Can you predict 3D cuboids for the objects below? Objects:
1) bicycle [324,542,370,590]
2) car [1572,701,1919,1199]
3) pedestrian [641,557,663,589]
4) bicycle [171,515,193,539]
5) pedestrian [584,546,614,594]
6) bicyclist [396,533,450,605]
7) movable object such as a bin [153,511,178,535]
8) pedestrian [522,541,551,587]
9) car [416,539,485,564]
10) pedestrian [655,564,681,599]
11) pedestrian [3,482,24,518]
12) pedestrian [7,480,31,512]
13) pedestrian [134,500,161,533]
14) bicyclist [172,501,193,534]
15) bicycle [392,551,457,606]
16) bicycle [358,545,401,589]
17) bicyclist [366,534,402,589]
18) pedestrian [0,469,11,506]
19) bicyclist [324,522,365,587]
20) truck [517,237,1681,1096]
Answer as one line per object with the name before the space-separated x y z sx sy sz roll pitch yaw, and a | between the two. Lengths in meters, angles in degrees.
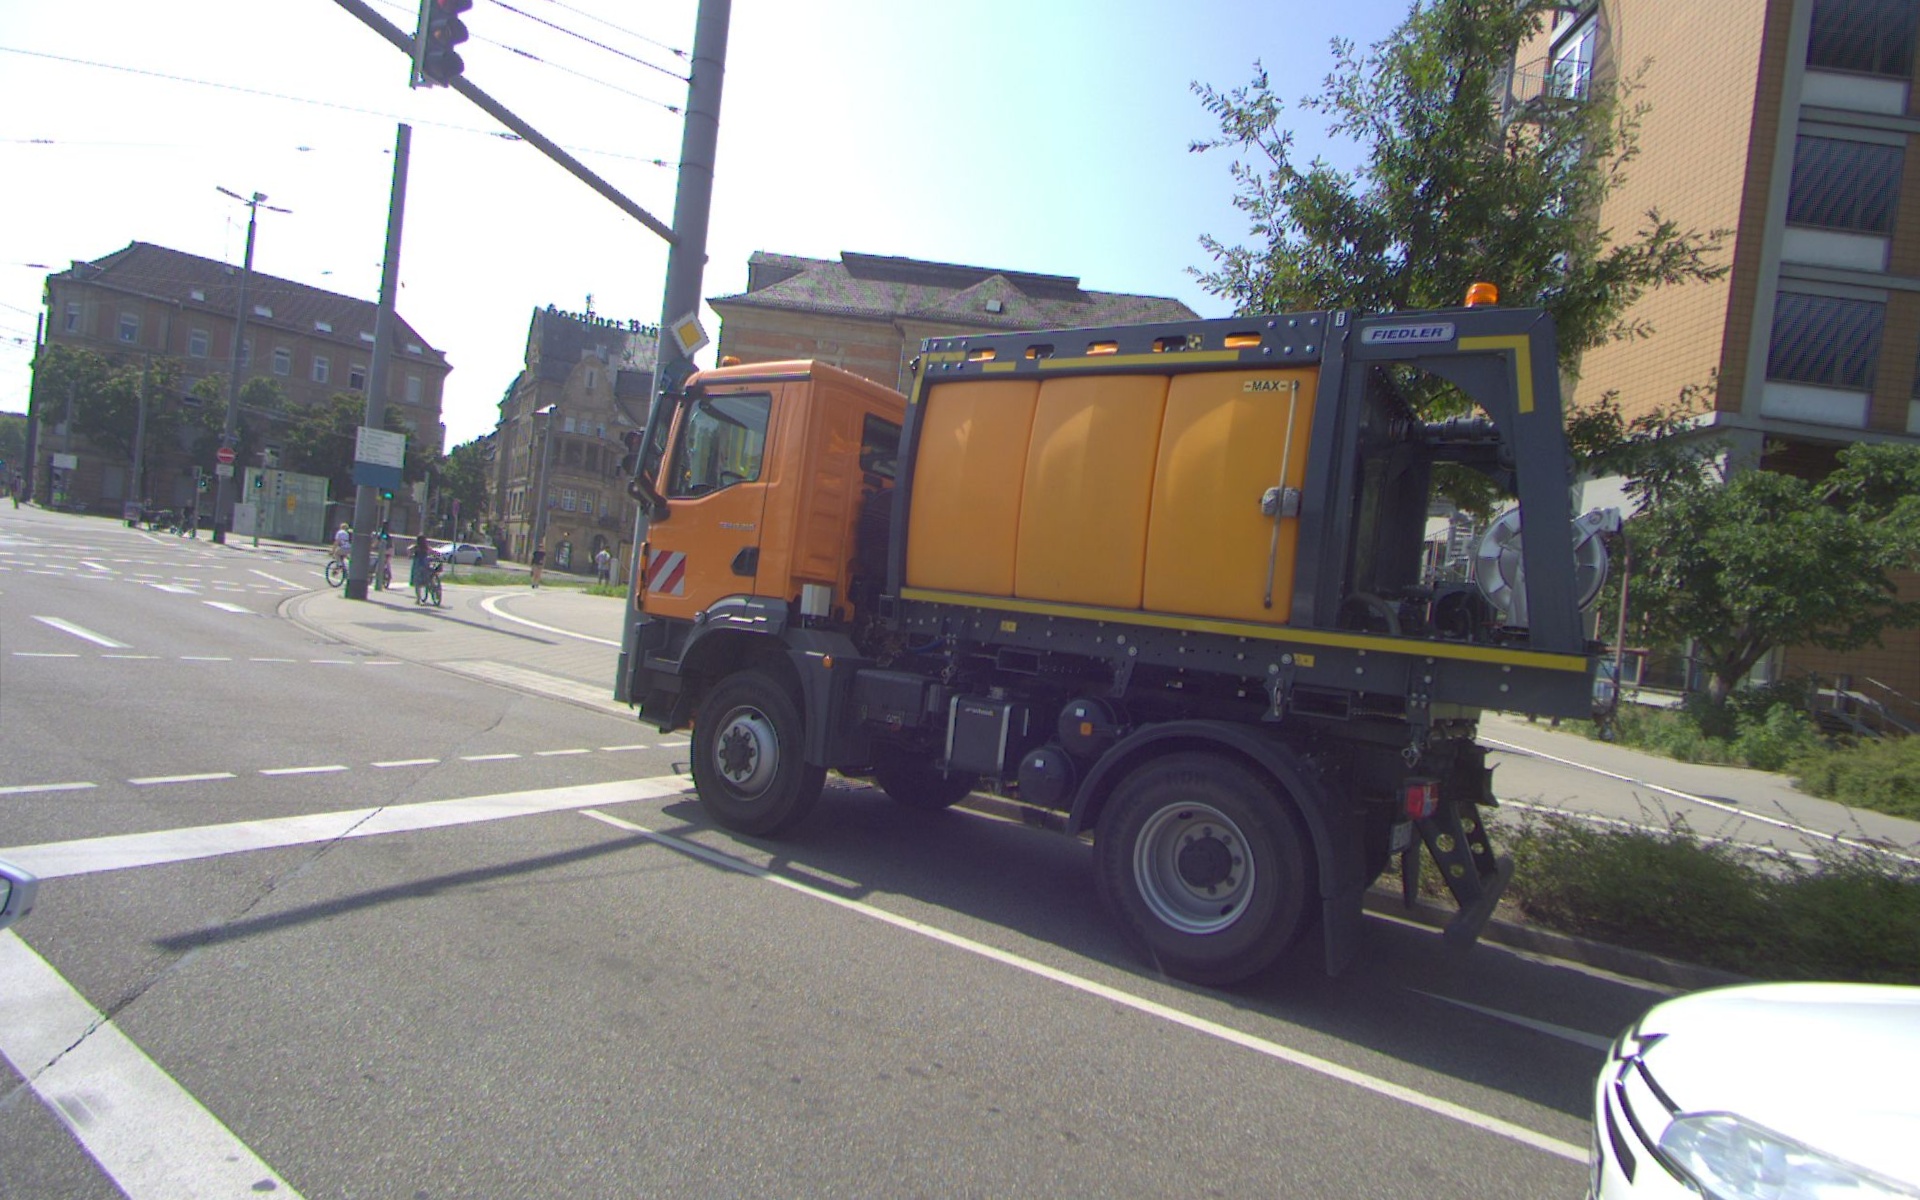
bicycle | -15.522 -0.861 25.455 1.632 1.068 0.535 7 1 45
car | 3.356 1.183 1.030 4.533 1.446 1.770 7 0 32
pedestrian | -12.753 -1.121 41.673 0.659 1.229 0.523 6 1 -30
bicycle | -38.731 -3.651 50.060 1.630 1.068 0.468 7 1 40
pedestrian | -13.946 -1.168 38.874 0.808 1.746 0.546 6 1 -9
bicyclist | -12.256 -0.709 22.962 0.653 1.537 0.734 7 1 36
movable object such as a bin | -40.816 -3.965 51.695 0.502 1.091 0.815 7 1 21
pedestrian | -15.765 -1.337 37.490 0.727 1.595 0.787 6 1 -14
car | -33.109 -3.135 65.504 1.962 1.103 4.002 7 0 9
pedestrian | -12.618 -0.794 43.520 0.679 1.417 0.767 7 1 7
pedestrian | -84.886 -8.995 90.203 0.959 3.055 0.983 7 1 36
pedestrian | -52.125 -5.773 55.721 0.562 1.623 0.701 7 1 24
pedestrian | -41.489 -4.246 51.367 0.519 1.564 0.852 7 1 24
bicyclist | -38.619 -4.104 49.989 0.513 1.548 0.611 8 1 38
bicycle | -12.193 -0.494 22.889 1.795 1.068 0.492 7 1 37
bicycle | -16.209 -0.923 28.065 1.632 1.068 0.535 7 1 45
bicyclist | -15.921 -1.066 27.804 0.882 1.410 0.529 7 1 44
pedestrian | -82.666 -9.742 86.633 0.960 3.055 0.983 7 1 38
bicyclist | -15.594 -1.151 25.489 0.702 1.537 0.626 7 1 44
truck | 0.347 0.031 6.624 6.751 3.172 2.494 7 0 34
